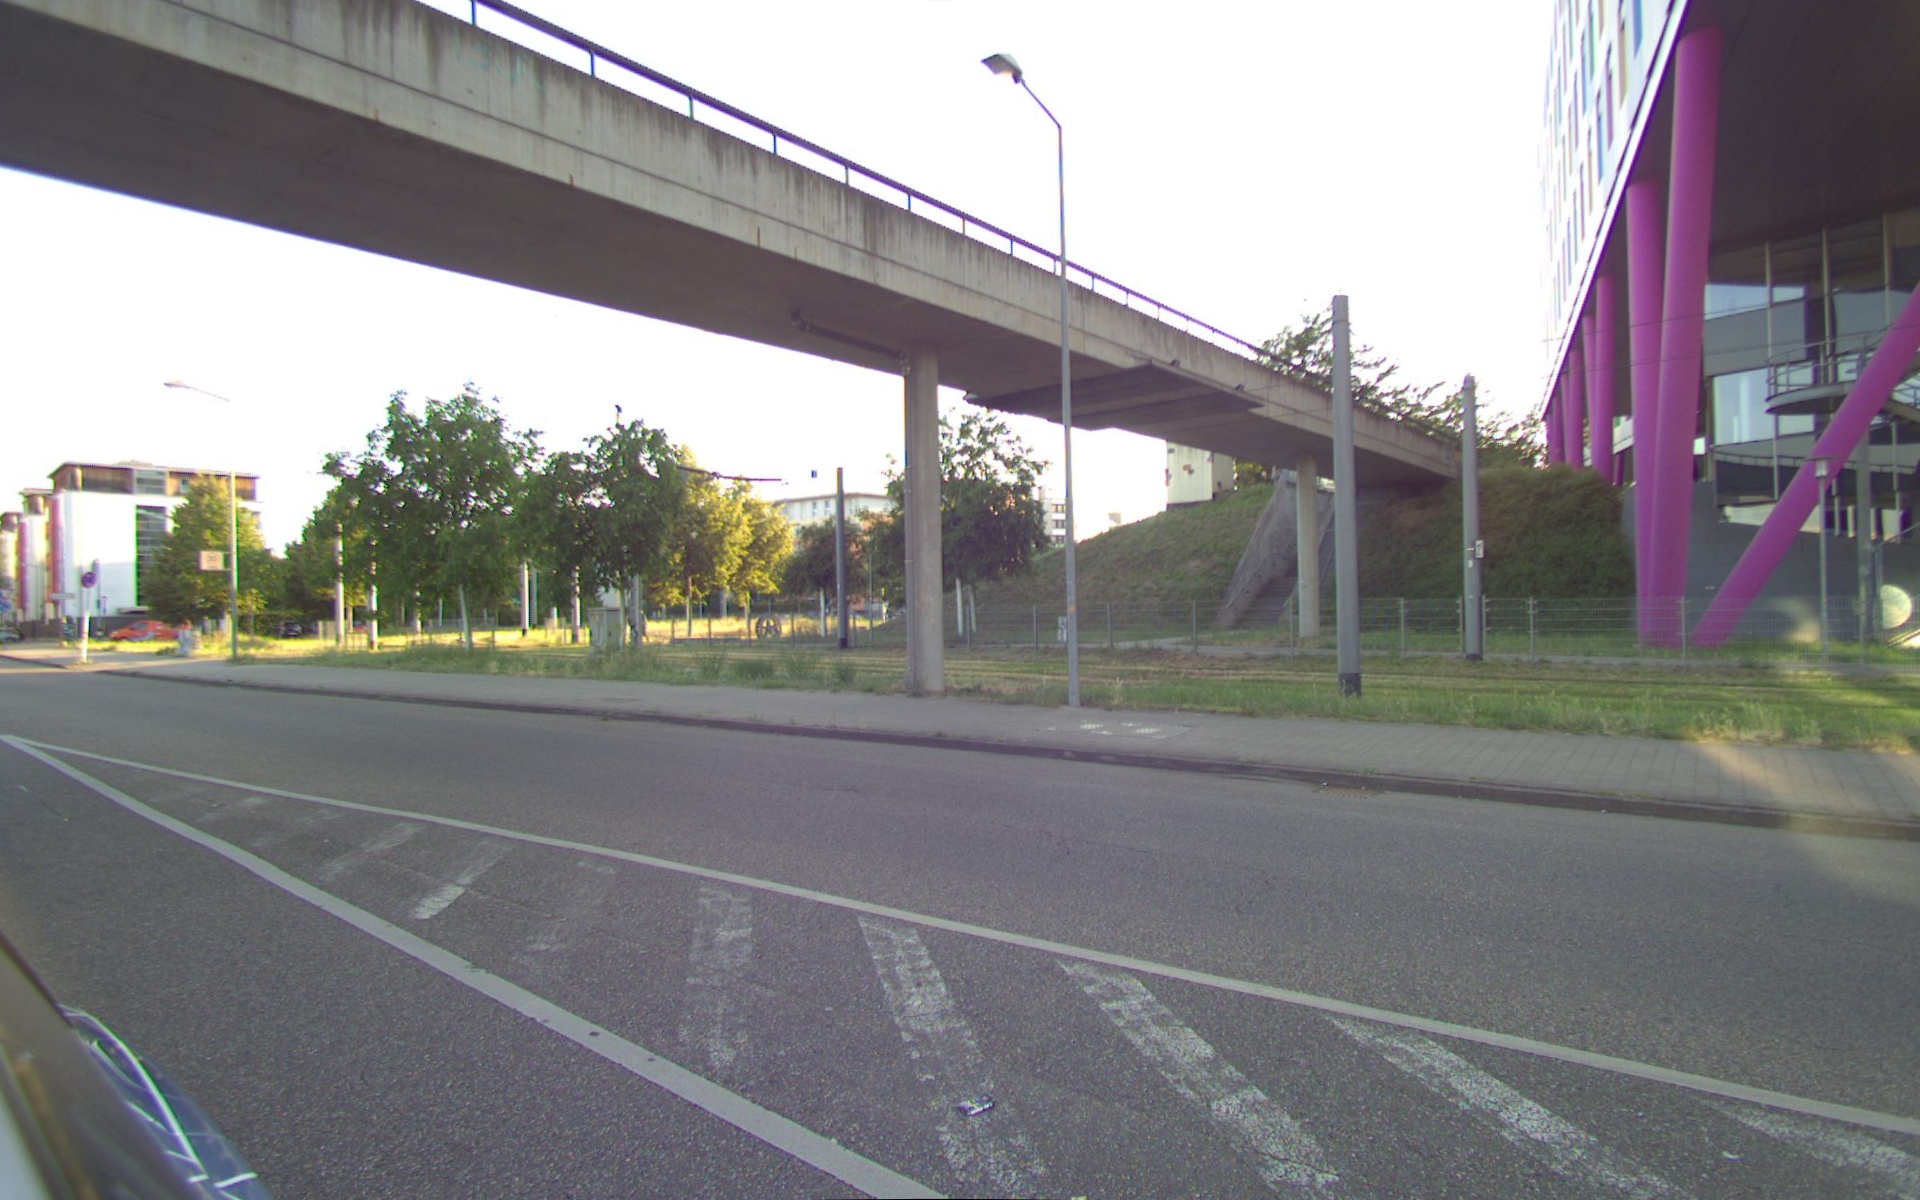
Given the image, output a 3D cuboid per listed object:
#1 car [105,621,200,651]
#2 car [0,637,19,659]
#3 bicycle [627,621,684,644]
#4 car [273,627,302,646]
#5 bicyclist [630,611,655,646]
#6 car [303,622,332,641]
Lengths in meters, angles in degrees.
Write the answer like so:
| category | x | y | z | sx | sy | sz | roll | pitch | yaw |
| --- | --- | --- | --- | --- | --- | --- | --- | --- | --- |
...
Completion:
| category | x | y | z | sx | sy | sz | roll | pitch | yaw |
| --- | --- | --- | --- | --- | --- | --- | --- | --- | --- |
| car | -60.321 | 2.675 | 75.771 | 5.435 | 2.029 | 2.005 | -1 | -1 | -35 |
| car | -80.457 | 4.032 | 83.549 | 2.000 | 1.741 | 3.944 | -2 | -1 | 42 |
| bicycle | -14.741 | 1.551 | 49.059 | 0.654 | 1.016 | 2.808 | -2 | -1 | 36 |
| car | -56.973 | 3.071 | 85.721 | 1.913 | 1.541 | 4.009 | -1 | -1 | -36 |
| bicyclist | -15.193 | 1.336 | 48.415 | 0.716 | 1.644 | 0.899 | -2 | -1 | 36 |
| car | -55.271 | 2.735 | 87.050 | 1.913 | 1.541 | 4.009 | -1 | -1 | -36 |
